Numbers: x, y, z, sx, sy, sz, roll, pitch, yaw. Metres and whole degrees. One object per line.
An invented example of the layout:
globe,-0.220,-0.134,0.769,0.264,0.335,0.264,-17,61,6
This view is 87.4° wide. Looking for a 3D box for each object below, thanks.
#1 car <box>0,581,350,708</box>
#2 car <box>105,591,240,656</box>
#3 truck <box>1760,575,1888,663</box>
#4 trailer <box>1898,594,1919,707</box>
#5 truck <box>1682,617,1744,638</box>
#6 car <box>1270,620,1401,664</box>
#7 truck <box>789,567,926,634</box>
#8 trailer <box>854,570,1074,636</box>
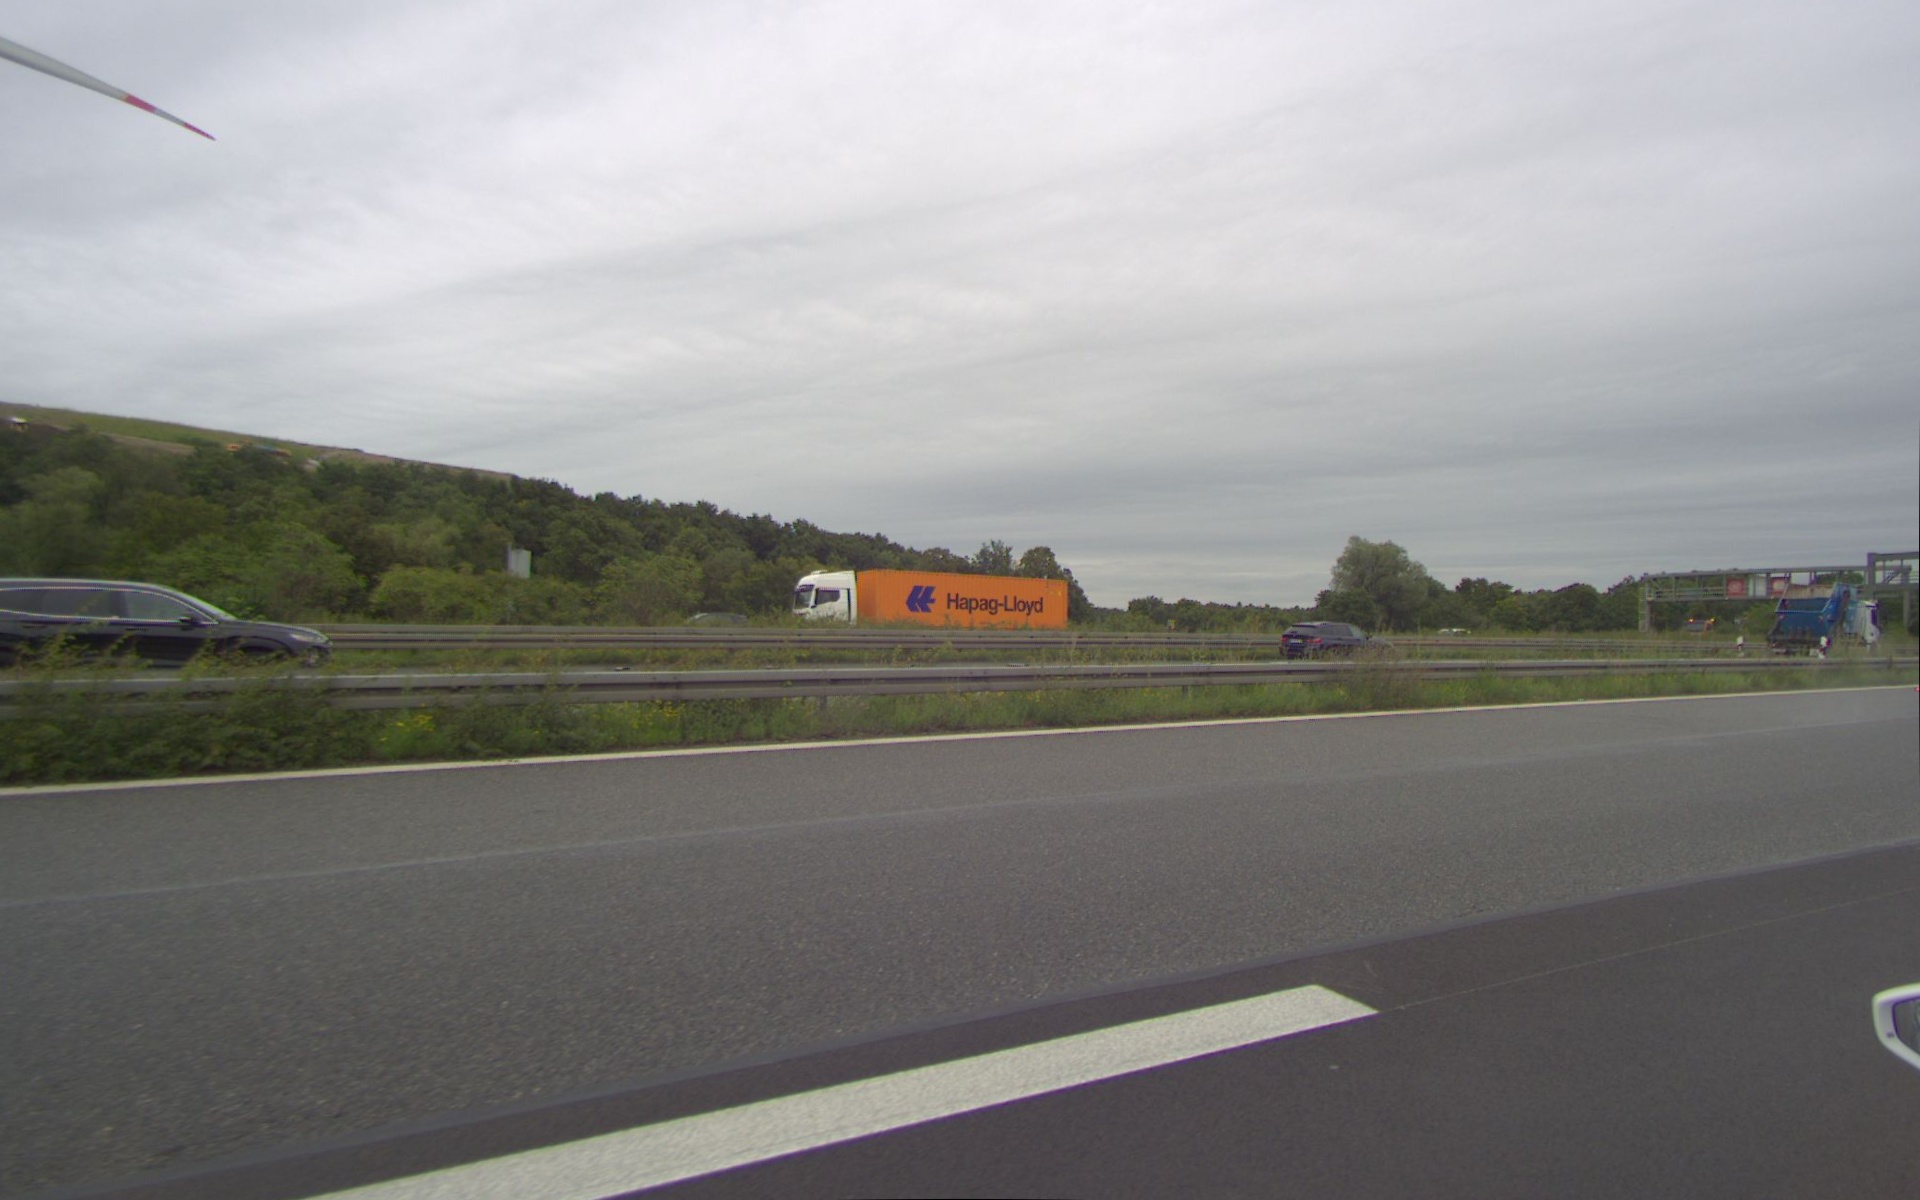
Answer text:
car,-11.738,0.623,14.705,4.754,1.648,1.872,2,0,-32
car,-30.898,0.922,39.582,3.956,2.408,2.011,1,0,-32
truck,40.775,0.932,47.344,7.266,3.863,2.622,2,0,-33
trailer,20.569,1.003,18.912,6.983,2.021,2.471,2,0,-32
truck,81.154,2.939,108.219,8.708,2.040,1.985,2,0,-29
car,13.073,1.464,34.901,4.724,1.410,1.793,2,0,-33
truck,-5.157,0.047,50.965,6.383,3.114,2.670,2,0,-32
trailer,0.448,0.271,54.503,12.427,3.114,2.670,2,0,-32
